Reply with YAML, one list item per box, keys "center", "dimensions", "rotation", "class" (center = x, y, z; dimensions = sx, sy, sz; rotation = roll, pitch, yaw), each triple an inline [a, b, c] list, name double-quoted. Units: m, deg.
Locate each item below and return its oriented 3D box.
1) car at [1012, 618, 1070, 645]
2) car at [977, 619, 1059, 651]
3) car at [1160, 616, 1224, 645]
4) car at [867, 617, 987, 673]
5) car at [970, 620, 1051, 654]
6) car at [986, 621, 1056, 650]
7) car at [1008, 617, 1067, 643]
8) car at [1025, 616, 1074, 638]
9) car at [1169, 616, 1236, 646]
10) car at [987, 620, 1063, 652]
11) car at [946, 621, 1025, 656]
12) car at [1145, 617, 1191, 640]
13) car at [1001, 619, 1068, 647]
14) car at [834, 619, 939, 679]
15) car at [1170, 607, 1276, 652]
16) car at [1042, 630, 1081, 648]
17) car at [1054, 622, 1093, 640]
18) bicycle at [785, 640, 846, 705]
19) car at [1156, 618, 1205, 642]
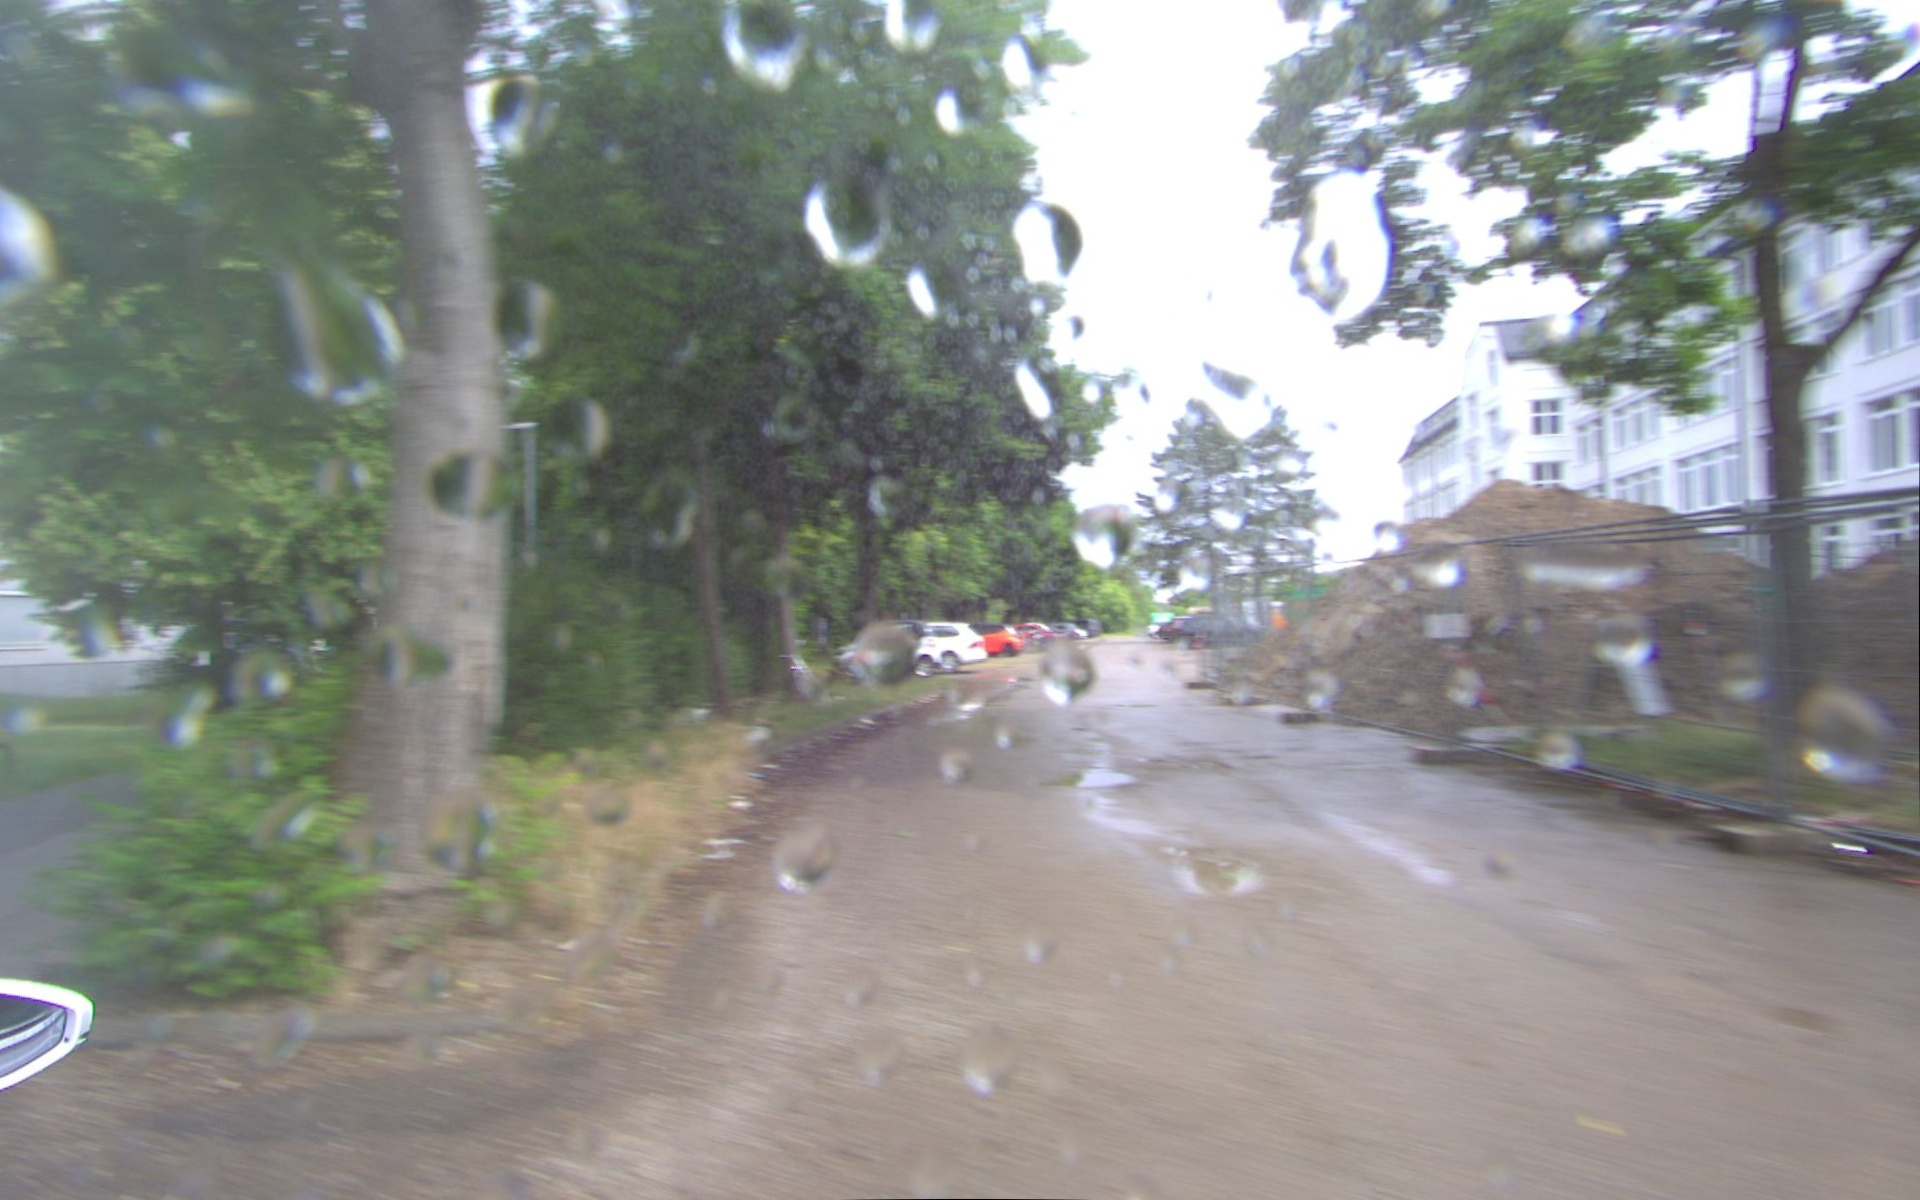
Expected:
- center: [5.038, 1.954, 62.574]
  dimensions: [3.529, 1.642, 1.869]
  rotation: [0, 0, 3]
  class: "car"
- center: [2.971, 1.777, 50.840]
  dimensions: [3.923, 1.516, 1.993]
  rotation: [0, 0, 10]
  class: "car"
- center: [15.201, 1.973, 65.823]
  dimensions: [3.924, 1.755, 1.999]
  rotation: [-2, 0, 10]
  class: "car"
- center: [-0.955, 1.296, 29.249]
  dimensions: [3.376, 1.488, 1.740]
  rotation: [-1, 0, -2]
  class: "car"
- center: [2.482, 1.764, 48.786]
  dimensions: [3.733, 1.549, 1.908]
  rotation: [0, 0, 11]
  class: "car"
- center: [3.467, 2.004, 56.650]
  dimensions: [3.878, 1.537, 1.805]
  rotation: [0, 0, 6]
  class: "car"
- center: [5.040, 1.945, 64.896]
  dimensions: [3.794, 1.594, 1.958]
  rotation: [0, 0, 6]
  class: "car"
- center: [6.953, 2.065, 77.693]
  dimensions: [3.794, 1.594, 1.958]
  rotation: [0, 0, 6]
  class: "car"
- center: [15.297, 1.952, 63.336]
  dimensions: [3.924, 1.747, 1.999]
  rotation: [-2, 0, 10]
  class: "car"
- center: [3.533, 1.931, 54.486]
  dimensions: [4.041, 1.672, 1.846]
  rotation: [0, 0, 5]
  class: "car"
- center: [1.147, 1.686, 44.219]
  dimensions: [3.232, 1.444, 1.591]
  rotation: [0, 0, 13]
  class: "car"
- center: [19.517, 2.687, 94.129]
  dimensions: [3.923, 1.912, 2.000]
  rotation: [-3, 0, 5]
  class: "car"
- center: [4.460, 1.979, 59.696]
  dimensions: [3.923, 1.581, 1.763]
  rotation: [0, 0, 7]
  class: "car"
- center: [-1.942, 1.292, 26.996]
  dimensions: [2.709, 1.504, 1.593]
  rotation: [-1, 0, -2]
  class: "car"
- center: [12.582, 1.403, 48.291]
  dimensions: [4.697, 1.966, 2.401]
  rotation: [-2, 0, 10]
  class: "car"
- center: [9.640, 3.706, 95.241]
  dimensions: [3.691, 1.661, 1.671]
  rotation: [0, 0, 6]
  class: "car"
- center: [11.500, 3.171, 101.827]
  dimensions: [3.922, 1.734, 1.913]
  rotation: [0, 0, 6]
  class: "car"
- center: [-2.151, 1.068, 15.012]
  dimensions: [0.468, 0.872, 1.455]
  rotation: [0, 0, 10]
  class: "bicycle"
- center: [19.311, 2.656, 87.825]
  dimensions: [3.924, 1.865, 1.999]
  rotation: [-3, 0, 8]
  class: "car"
